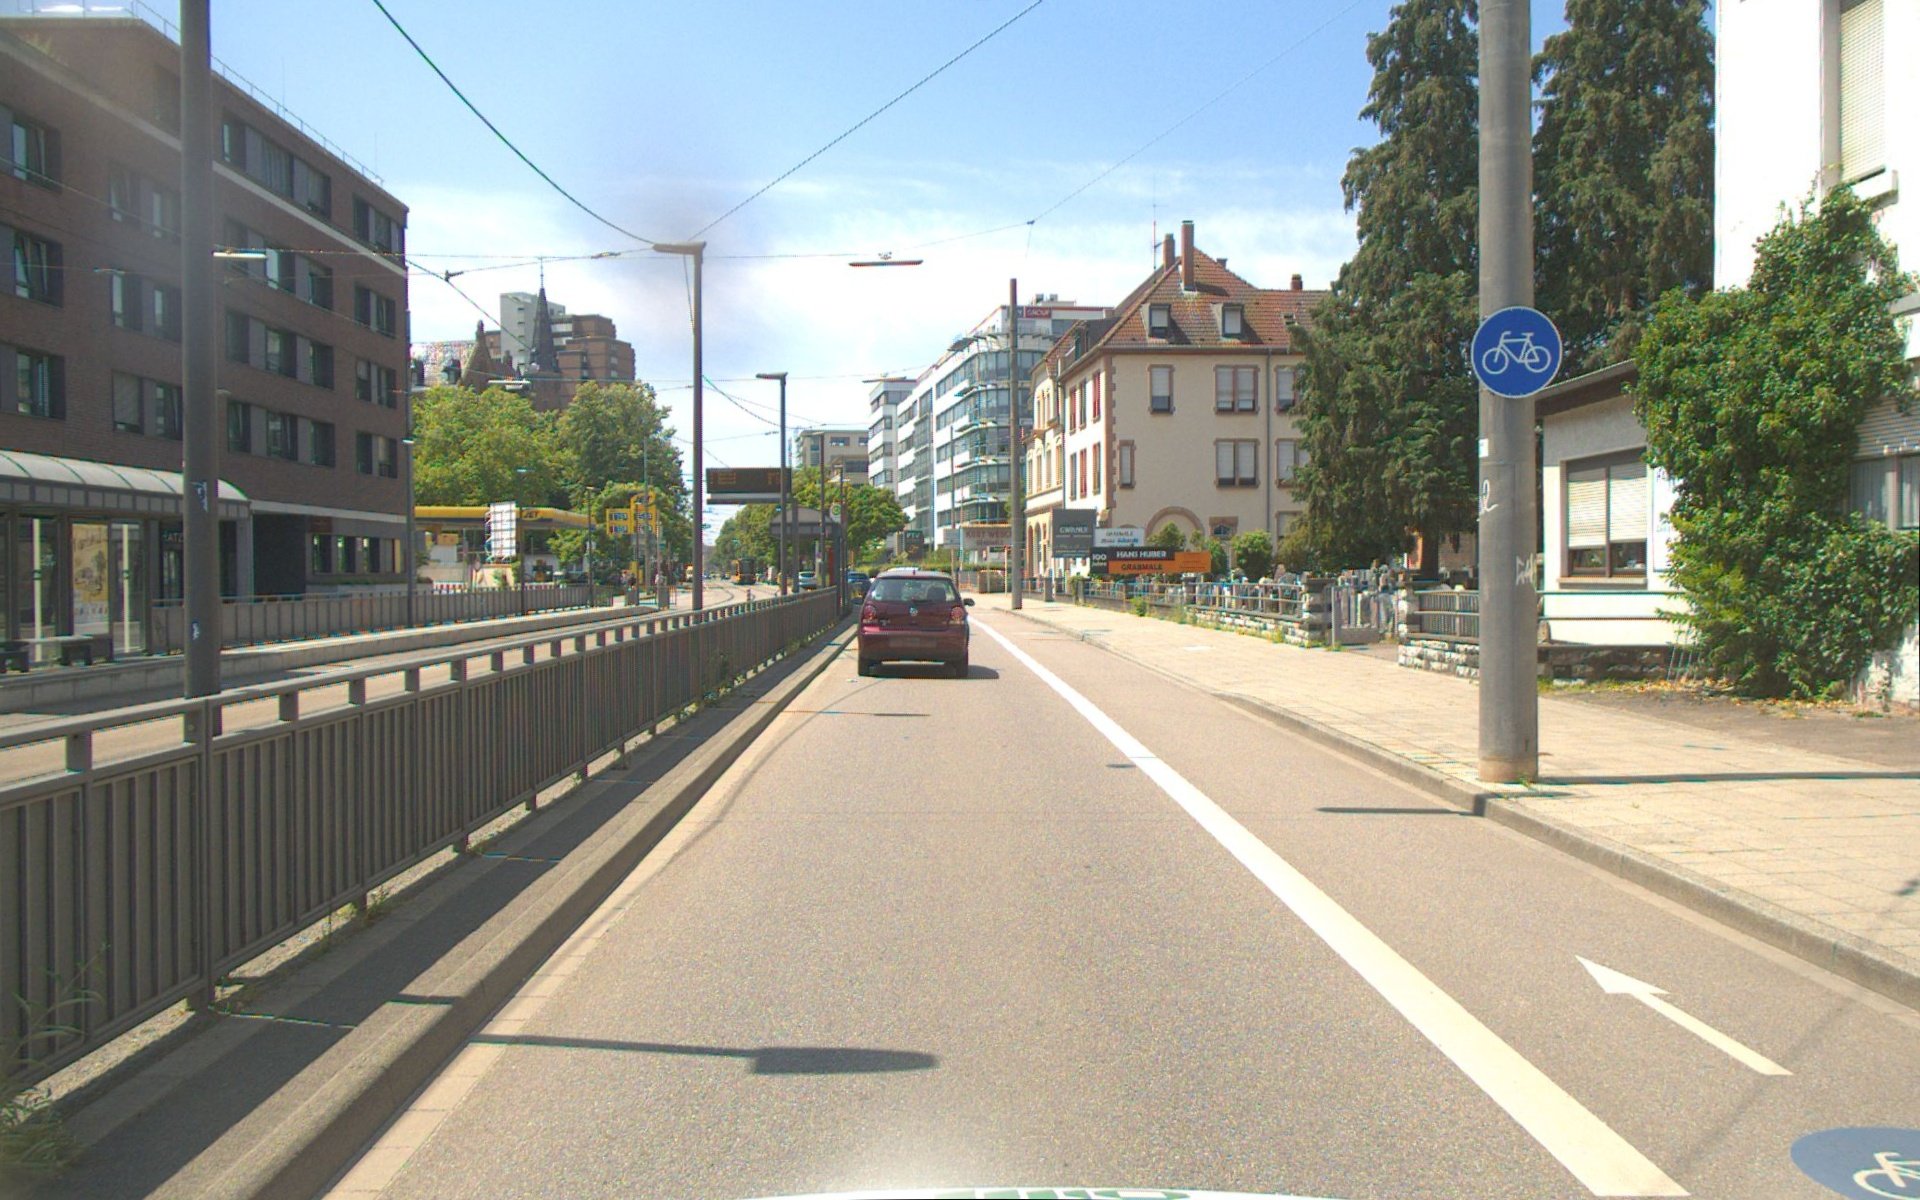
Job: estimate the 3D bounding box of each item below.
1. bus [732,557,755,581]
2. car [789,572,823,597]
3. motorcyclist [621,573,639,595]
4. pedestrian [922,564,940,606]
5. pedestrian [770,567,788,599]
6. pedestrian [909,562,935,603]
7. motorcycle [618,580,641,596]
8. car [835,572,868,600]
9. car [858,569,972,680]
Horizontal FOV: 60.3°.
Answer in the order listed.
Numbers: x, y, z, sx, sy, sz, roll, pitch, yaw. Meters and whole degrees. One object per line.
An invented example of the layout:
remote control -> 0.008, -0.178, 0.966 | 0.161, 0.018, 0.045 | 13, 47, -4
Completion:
bus -> -28.430, -4.025, 216.871 | 2.110, 3.055, 6.546 | -2, 1, -16
car -> -12.258, -1.250, 131.538 | 1.961, 1.881, 3.983 | -2, 2, -16
motorcyclist -> -17.875, -0.843, 89.678 | 0.832, 1.159, 0.634 | -2, 1, -2
pedestrian -> -1.326, -0.688, 75.315 | 0.730, 1.868, 0.791 | -2, 1, -4
pedestrian -> -12.023, -1.134, 109.976 | 1.087, 2.049, 1.039 | -1, 1, -1
pedestrian -> -1.759, -0.810, 76.878 | 1.146, 1.868, 0.791 | -2, 1, -4
motorcycle -> -17.890, -0.658, 89.608 | 0.854, 0.820, 1.909 | -2, 2, -1
car -> -6.715, -0.910, 102.751 | 1.954, 1.653, 4.630 | -1, 1, -3
car -> -0.668, 0.305, 24.268 | 1.530, 1.479, 3.061 | -1, 1, -2
